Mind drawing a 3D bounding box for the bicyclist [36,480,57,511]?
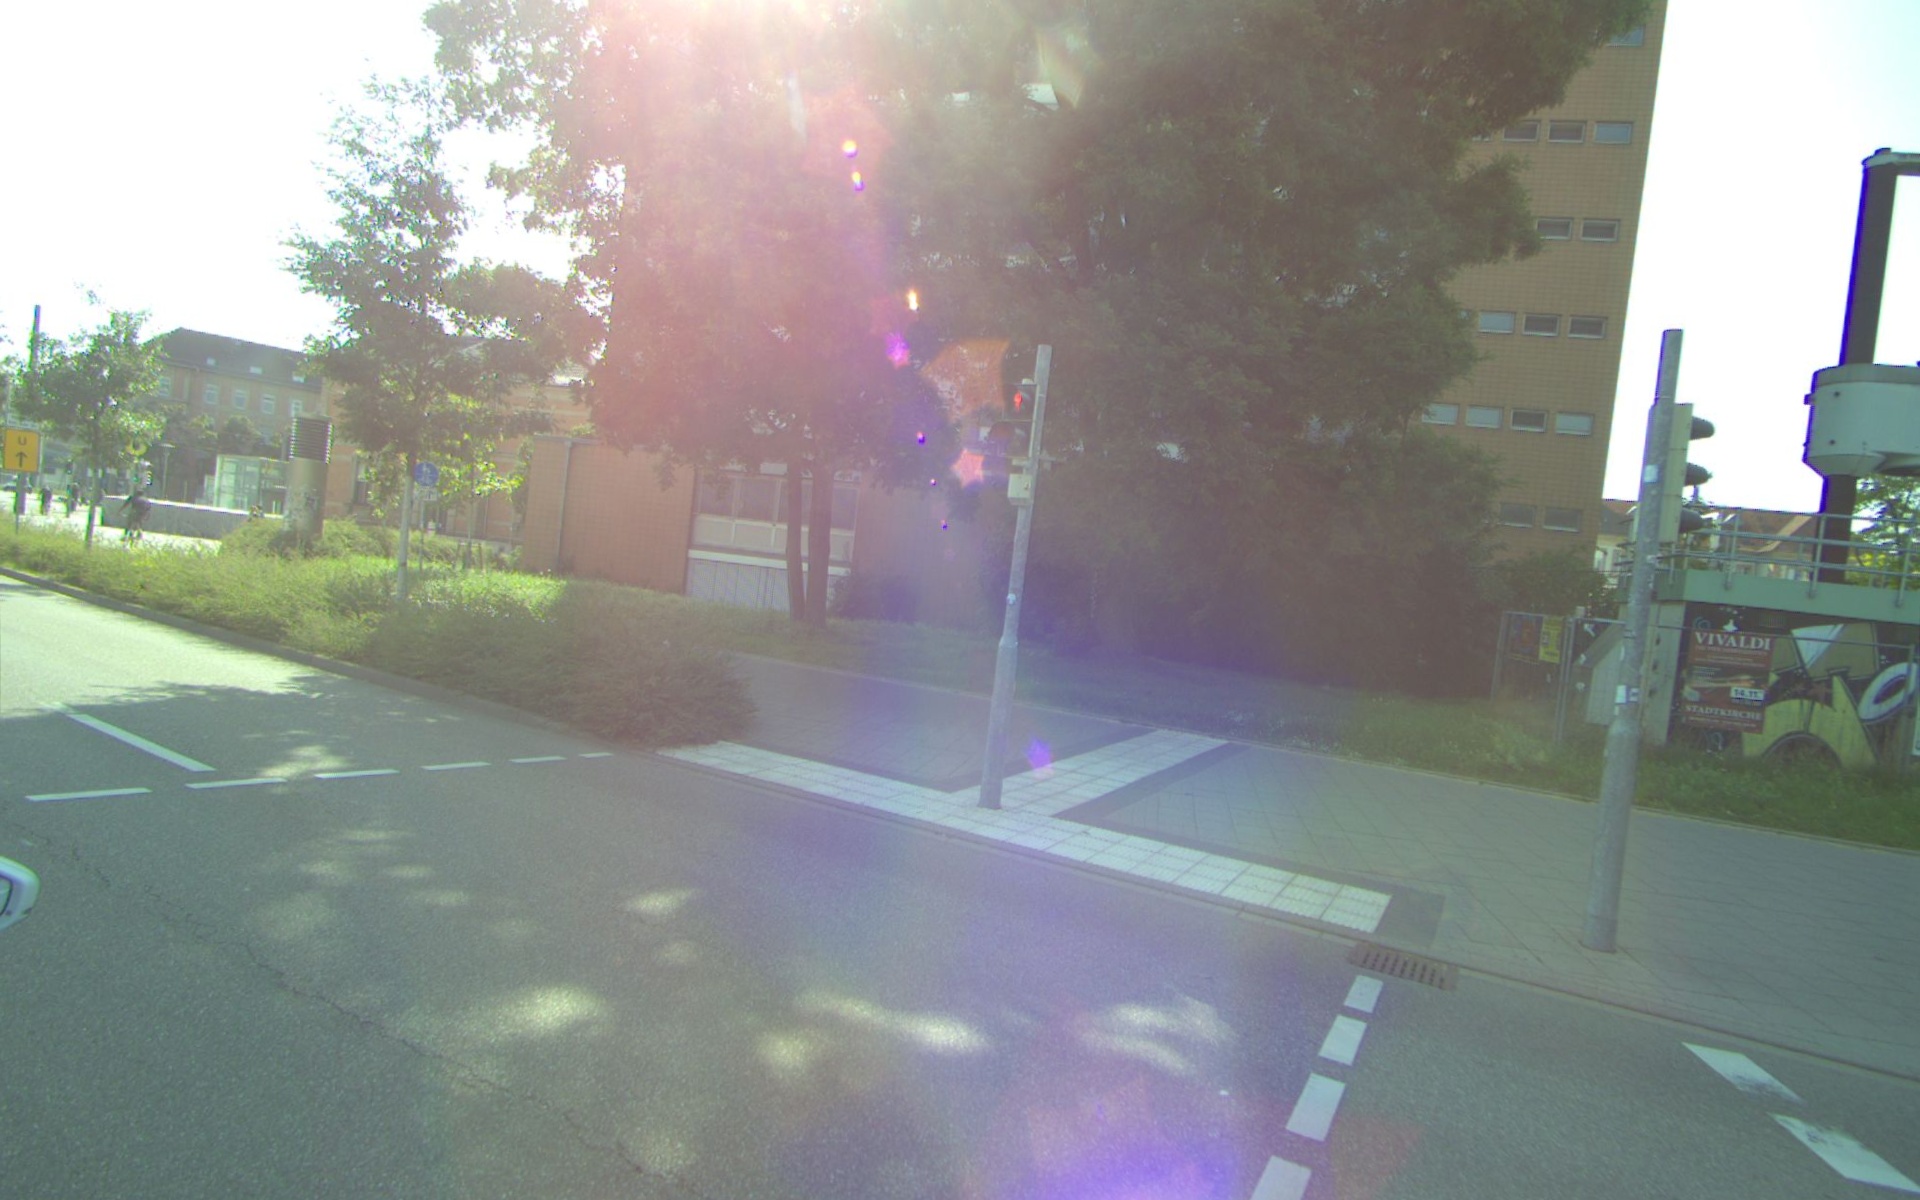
[{"bbox_3d":[-49.302,-5.629,54.293,0.709,1.549,0.798,5,2,-39],"label":"bicyclist"}]

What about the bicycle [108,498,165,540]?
[{"bbox_3d":[-23.538,-2.320,28.738,2.118,0.988,0.771,7,1,38],"label":"bicycle"}]

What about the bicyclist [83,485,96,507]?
[{"bbox_3d":[-79.728,-9.526,92.155,0.742,1.853,0.798,5,2,-39],"label":"bicyclist"}]

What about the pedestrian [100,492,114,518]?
[{"bbox_3d":[-71.524,-7.986,84.348,0.742,2.039,0.798,5,2,-39],"label":"pedestrian"}]

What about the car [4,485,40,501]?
[{"bbox_3d":[-116.331,-13.230,124.798,1.974,1.460,3.976,6,0,-24],"label":"car"}]

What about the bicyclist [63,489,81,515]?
[{"bbox_3d":[-53.854,-5.939,61.012,0.702,1.412,0.820,5,2,-39],"label":"bicyclist"}]

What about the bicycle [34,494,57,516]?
[{"bbox_3d":[-49.355,-5.122,54.319,0.702,1.075,1.961,6,1,-38],"label":"bicycle"}]

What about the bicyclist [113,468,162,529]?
[{"bbox_3d":[-23.491,-2.907,28.731,0.975,1.598,0.771,7,1,38],"label":"bicyclist"}]

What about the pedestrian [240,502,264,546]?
[{"bbox_3d":[-28.286,-3.036,40.195,0.612,1.649,0.527,5,2,-42],"label":"pedestrian"}]

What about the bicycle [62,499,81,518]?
[{"bbox_3d":[-53.876,-5.554,61.008,0.702,1.075,1.961,6,1,-38],"label":"bicycle"}]

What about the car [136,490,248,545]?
[{"bbox_3d":[-38.138,-4.065,50.070,1.721,2.039,3.999,9,1,19],"label":"car"}]

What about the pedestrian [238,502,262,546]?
[{"bbox_3d":[-27.952,-2.977,39.618,0.610,1.660,0.529,5,2,-32],"label":"pedestrian"}]
